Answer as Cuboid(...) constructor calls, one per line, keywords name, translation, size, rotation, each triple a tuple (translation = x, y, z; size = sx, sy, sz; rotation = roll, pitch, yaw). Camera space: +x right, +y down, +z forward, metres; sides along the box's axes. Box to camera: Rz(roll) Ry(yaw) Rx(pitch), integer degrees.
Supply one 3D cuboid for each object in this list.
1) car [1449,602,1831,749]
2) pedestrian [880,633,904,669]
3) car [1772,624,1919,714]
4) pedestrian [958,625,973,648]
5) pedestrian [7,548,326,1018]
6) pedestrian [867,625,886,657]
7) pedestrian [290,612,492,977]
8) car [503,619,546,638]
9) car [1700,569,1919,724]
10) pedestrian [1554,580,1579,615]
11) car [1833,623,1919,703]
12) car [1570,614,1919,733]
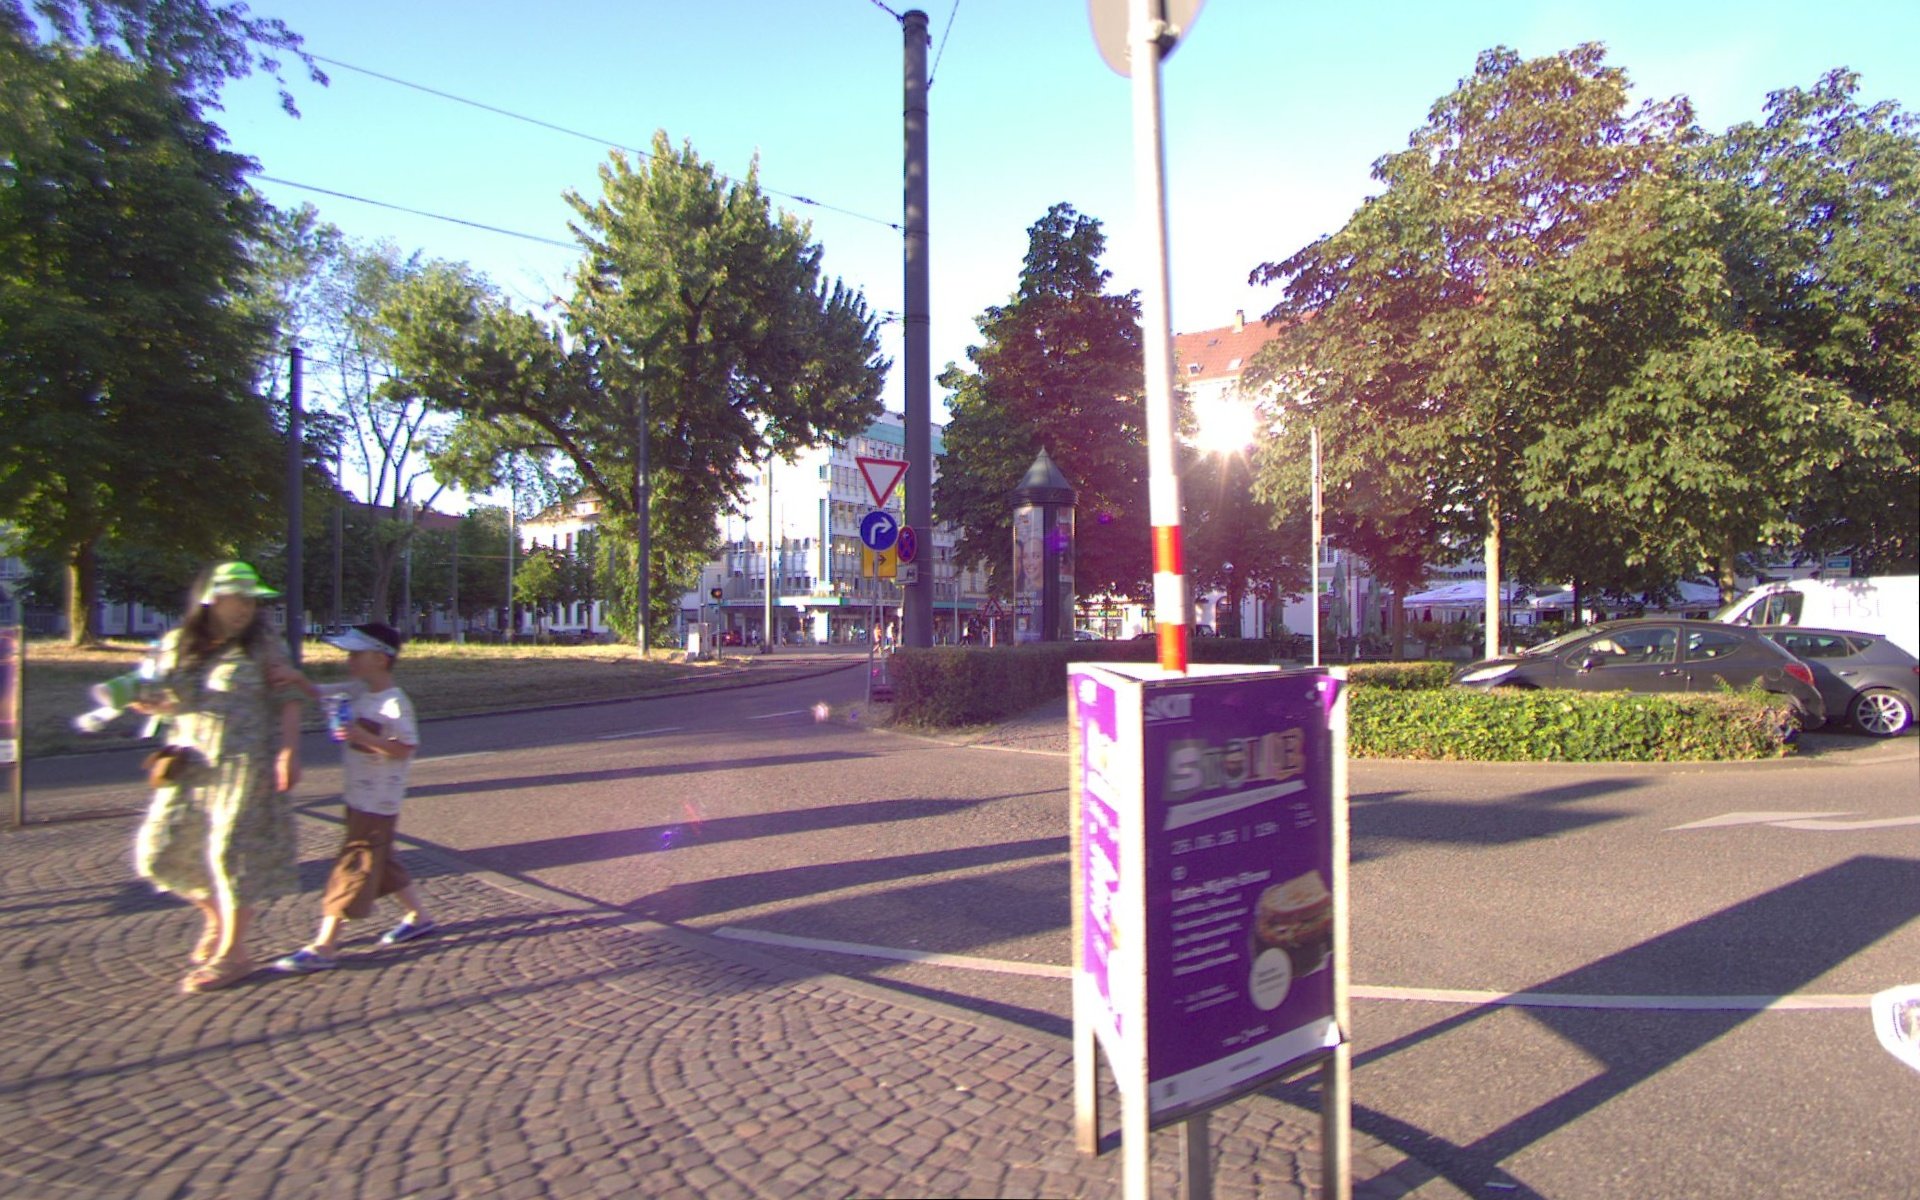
Cuboid(name="car", translation=(8.450, 0.867, 12.948), size=(3.811, 1.603, 1.801), rotation=(1, 0, 25))
Cuboid(name="pedestrian", translation=(-3.696, 2.751, 54.218), size=(0.984, 1.865, 0.857), rotation=(-2, 1, -30))
Cuboid(name="car", translation=(17.300, 1.218, 17.930), size=(3.920, 1.487, 1.883), rotation=(0, 0, 18))
Cuboid(name="pedestrian", translation=(0.459, 3.043, 84.242), size=(0.879, 1.947, 0.876), rotation=(1, 0, 36))
Cuboid(name="pedestrian", translation=(-2.924, 0.620, 3.781), size=(0.687, 1.580, 0.693), rotation=(0, 0, -10))
Cuboid(name="pedestrian", translation=(-4.622, 2.244, 55.563), size=(0.814, 1.722, 0.740), rotation=(-2, 1, -30))
Cuboid(name="pedestrian", translation=(-2.325, 0.743, 4.166), size=(0.554, 1.382, 0.613), rotation=(0, 0, -11))
Cuboid(name="car", translation=(-40.793, 2.681, 94.127), size=(3.936, 1.728, 1.993), rotation=(-1, -2, 36))
Cuboid(name="car", translation=(14.568, 0.695, 15.821), size=(4.535, 2.281, 2.197), rotation=(1, 0, 34))
Cuboid(name="pedestrian", translation=(22.263, -0.094, 36.888), size=(0.519, 1.232, 0.532), rotation=(0, -2, -23))
Cuboid(name="car", translation=(20.053, 1.258, 19.757), size=(3.922, 1.512, 1.849), rotation=(1, 0, 22))
Cuboid(name="car", translation=(11.296, 0.982, 14.543), size=(3.922, 1.506, 1.833), rotation=(0, 0, 21))
